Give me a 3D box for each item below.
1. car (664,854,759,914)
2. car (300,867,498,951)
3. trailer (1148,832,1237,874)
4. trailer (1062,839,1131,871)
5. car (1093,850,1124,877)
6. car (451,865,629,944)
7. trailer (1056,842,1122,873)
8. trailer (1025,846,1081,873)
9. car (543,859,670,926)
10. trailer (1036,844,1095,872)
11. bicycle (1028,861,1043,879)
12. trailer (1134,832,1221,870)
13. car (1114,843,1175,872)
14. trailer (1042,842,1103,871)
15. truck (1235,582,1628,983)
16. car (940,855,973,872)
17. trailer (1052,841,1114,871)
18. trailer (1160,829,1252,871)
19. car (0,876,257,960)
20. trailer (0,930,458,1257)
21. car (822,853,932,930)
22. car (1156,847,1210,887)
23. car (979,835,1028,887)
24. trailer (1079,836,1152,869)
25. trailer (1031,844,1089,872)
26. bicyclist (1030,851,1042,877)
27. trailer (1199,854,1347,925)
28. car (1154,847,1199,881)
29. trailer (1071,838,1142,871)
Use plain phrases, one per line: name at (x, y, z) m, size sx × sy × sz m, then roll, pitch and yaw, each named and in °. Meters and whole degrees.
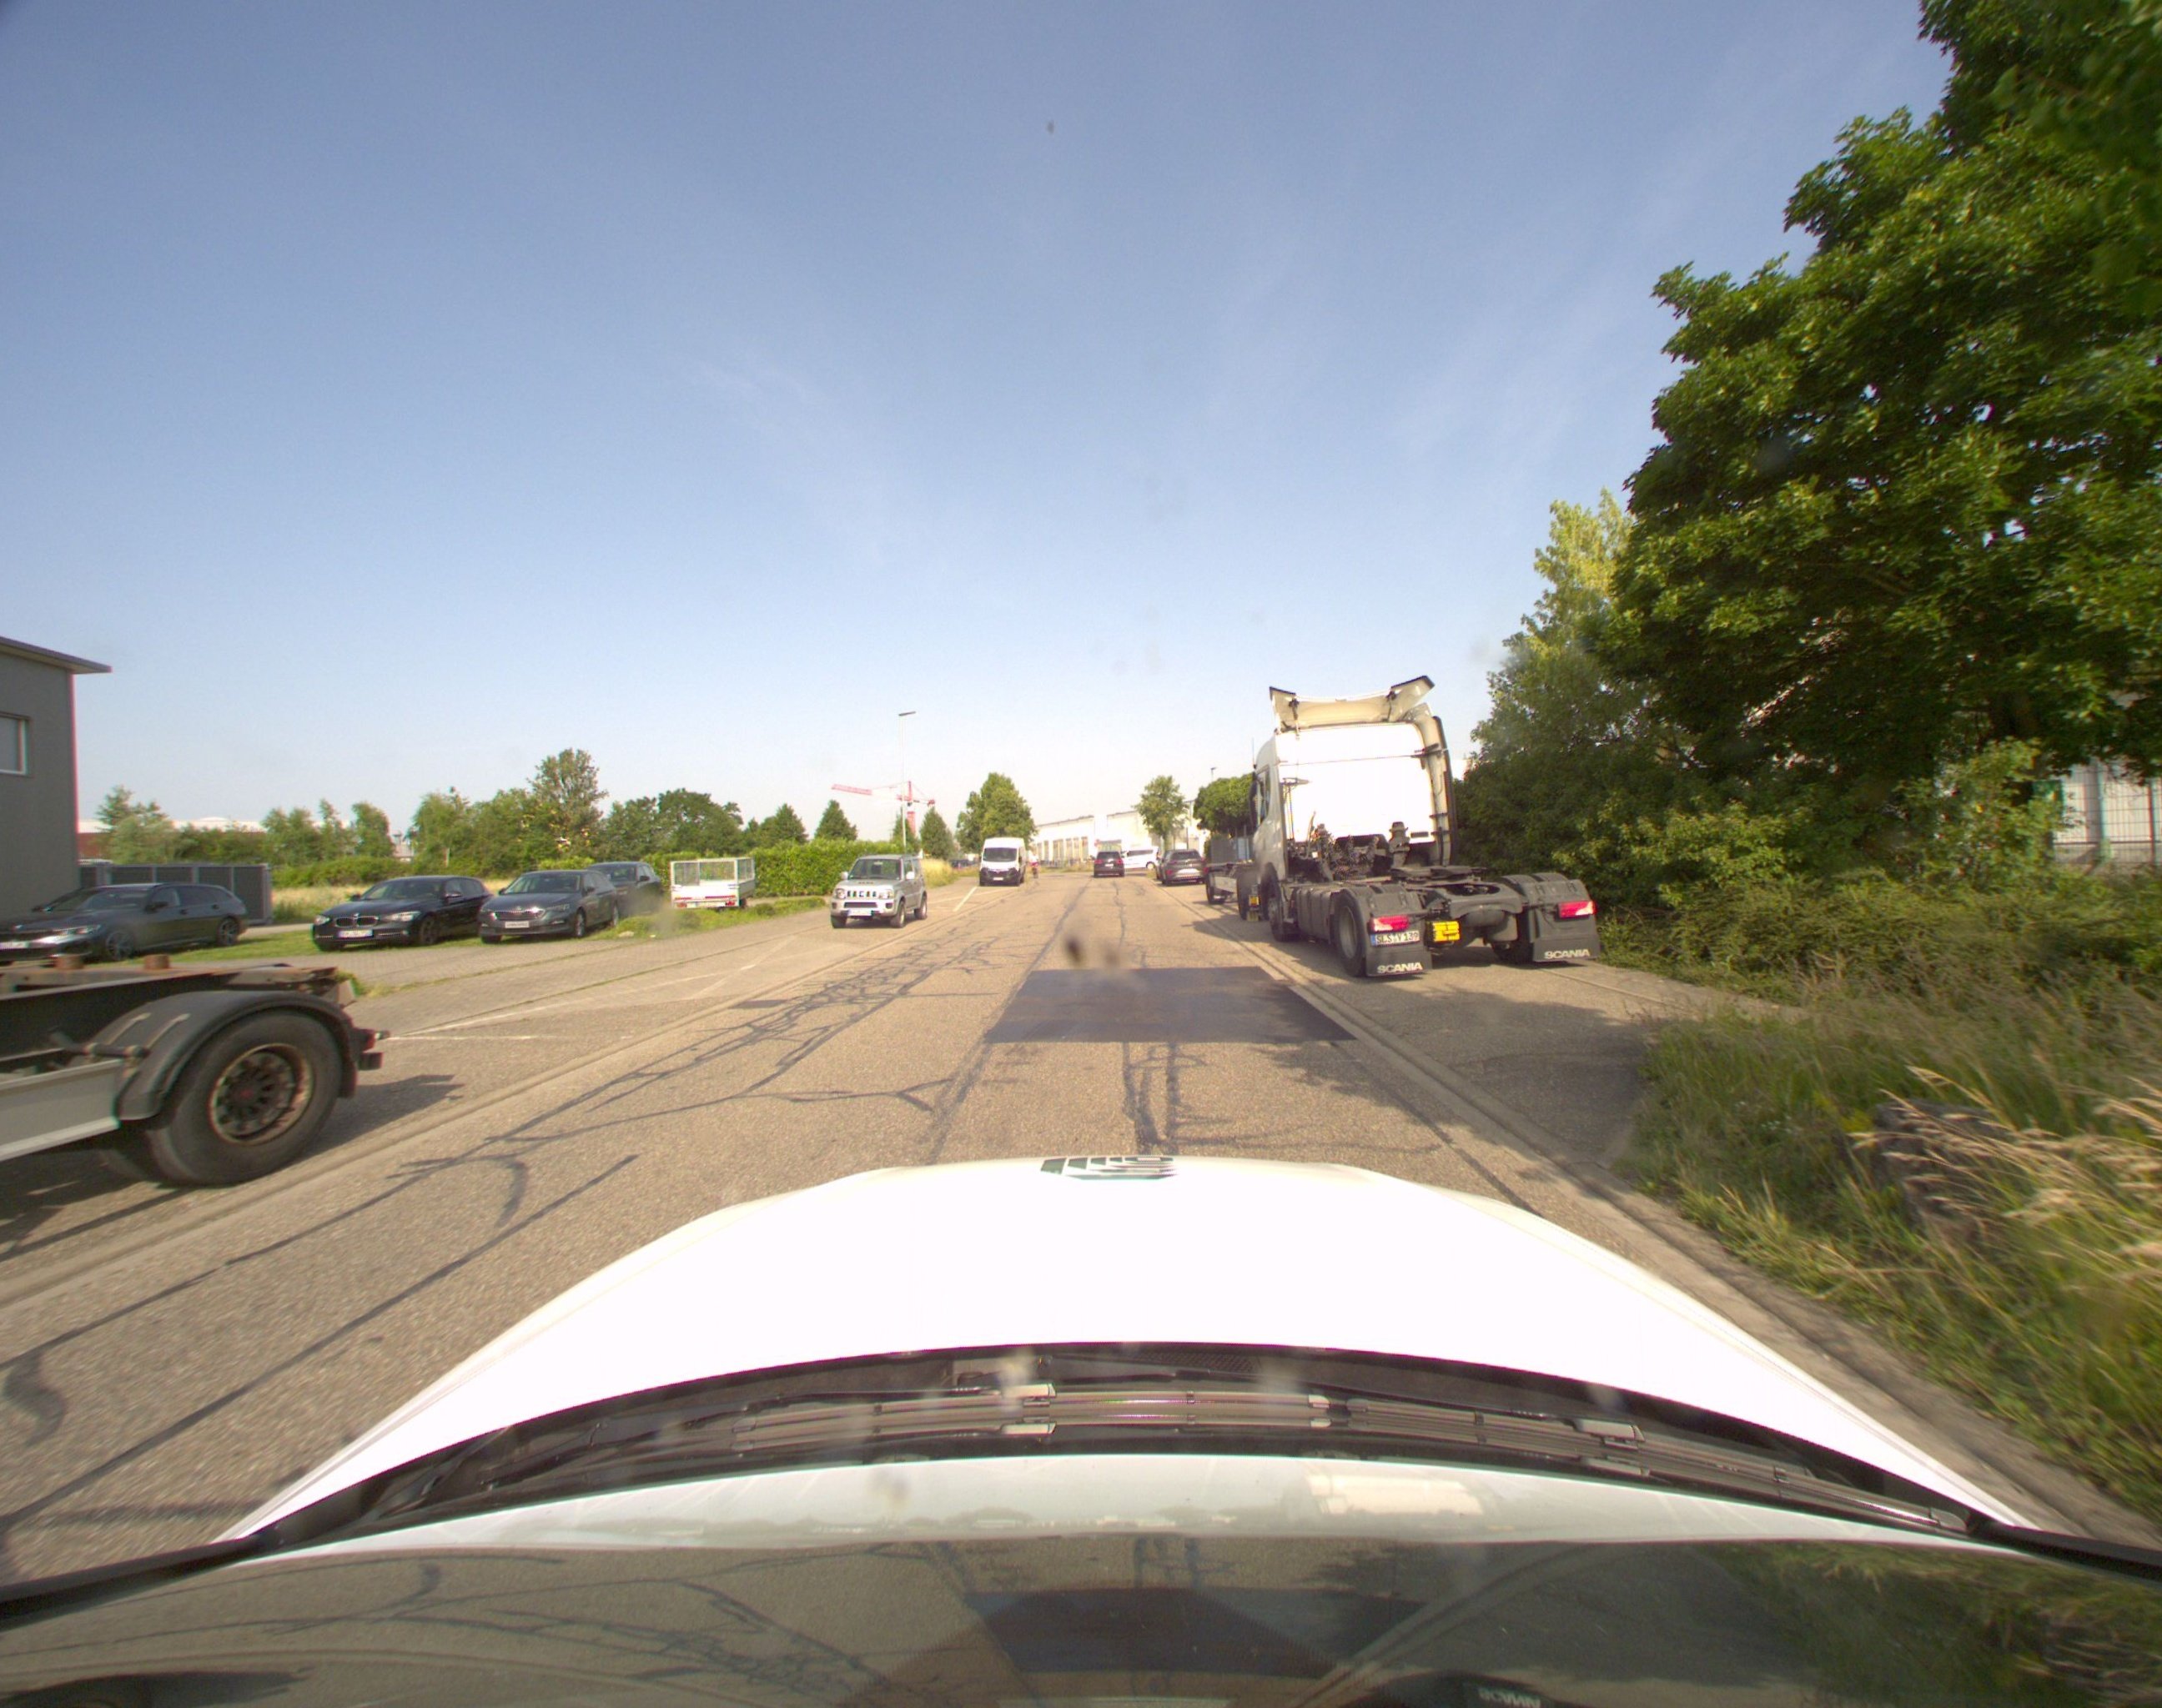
car at (-10.454, 0.801, 23.300) m, size 1.836 × 1.572 × 3.797 m, roll 1°, pitch -1°, yaw -15°
car at (-14.238, 1.053, 17.333) m, size 1.683 × 1.476 × 4.325 m, roll -1°, pitch 0°, yaw -18°
trailer at (11.317, -0.134, 82.454) m, size 8.566 × 3.893 × 2.756 m, roll -2°, pitch -1°, yaw -21°
trailer at (1.997, 0.152, 104.564) m, size 8.340 × 3.894 × 2.755 m, roll 1°, pitch -1°, yaw -22°
car at (1.755, 0.593, 51.661) m, size 1.873 × 1.586 × 4.115 m, roll 1°, pitch -1°, yaw 2°
car at (-11.681, 0.999, 17.979) m, size 1.979 × 1.476 × 4.398 m, roll -1°, pitch 0°, yaw -16°
trailer at (1.077, 0.465, 107.471) m, size 8.340 × 3.894 × 2.755 m, roll 1°, pitch -1°, yaw -22°
trailer at (-4.222, 0.811, 122.354) m, size 7.994 × 3.894 × 2.755 m, roll 1°, pitch -1°, yaw -22°
car at (-13.130, 0.990, 22.861) m, size 1.993 × 1.658 × 4.398 m, roll -1°, pitch 0°, yaw -16°
trailer at (-2.268, 0.569, 116.784) m, size 7.994 × 3.894 × 2.755 m, roll 1°, pitch -1°, yaw -22°
bicycle at (-3.021, 1.062, 54.468) m, size 0.713 × 1.122 × 2.220 m, roll -4°, pitch 0°, yaw 2°
trailer at (10.078, -0.302, 85.194) m, size 8.766 × 3.761 × 2.770 m, roll 0°, pitch -1°, yaw -22°
car at (5.028, 0.273, 63.927) m, size 4.584 × 2.110 × 2.133 m, roll -2°, pitch -1°, yaw 7°
trailer at (-1.158, 0.411, 114.002) m, size 7.994 × 3.894 × 2.755 m, roll 1°, pitch -1°, yaw -22°
truck at (4.179, -0.729, 11.405) m, size 2.683 × 3.964 × 6.047 m, roll -4°, pitch 0°, yaw 0°
car at (-12.492, 0.981, 81.479) m, size 1.981 × 1.574 × 4.074 m, roll -1°, pitch -1°, yaw -30°
trailer at (0.270, 0.345, 111.388) m, size 8.065 × 3.894 × 2.755 m, roll 1°, pitch -1°, yaw -22°
trailer at (12.228, -0.416, 79.655) m, size 8.564 × 3.894 × 2.757 m, roll -1°, pitch -3°, yaw -20°
car at (-18.891, 1.157, 15.997) m, size 1.994 × 1.324 × 4.325 m, roll -1°, pitch 0°, yaw -18°
trailer at (-5.641, 1.062, 0.651) m, size 2.536 × 1.074 × 9.736 m, roll 0°, pitch 0°, yaw 2°
car at (-4.805, 0.830, 19.702) m, size 1.591 × 1.651 × 3.646 m, roll -1°, pitch 0°, yaw 2°
car at (4.365, 0.562, 35.393) m, size 1.873 × 1.574 × 4.115 m, roll -3°, pitch -1°, yaw 2°
car at (-4.113, 0.375, 44.365) m, size 2.096 × 2.595 × 6.500 m, roll 1°, pitch 0°, yaw -1°
trailer at (4.215, -0.137, 98.818) m, size 8.569 × 3.894 × 2.755 m, roll 1°, pitch -1°, yaw -22°
trailer at (-3.083, 0.627, 119.628) m, size 7.994 × 3.894 × 2.755 m, roll 1°, pitch -1°, yaw -22°
bicyclist at (-3.028, 0.639, 54.602) m, size 0.637 × 1.719 × 1.166 m, roll -2°, pitch 0°, yaw 2°
trailer at (4.194, 0.686, 19.235) m, size 1.931 × 1.236 × 7.454 m, roll -3°, pitch 0°, yaw 2°
car at (4.883, 0.516, 42.364) m, size 1.873 × 1.574 × 5.121 m, roll -3°, pitch -1°, yaw 2°
trailer at (3.217, 0.051, 101.845) m, size 8.569 × 3.894 × 2.755 m, roll 1°, pitch -1°, yaw -22°
